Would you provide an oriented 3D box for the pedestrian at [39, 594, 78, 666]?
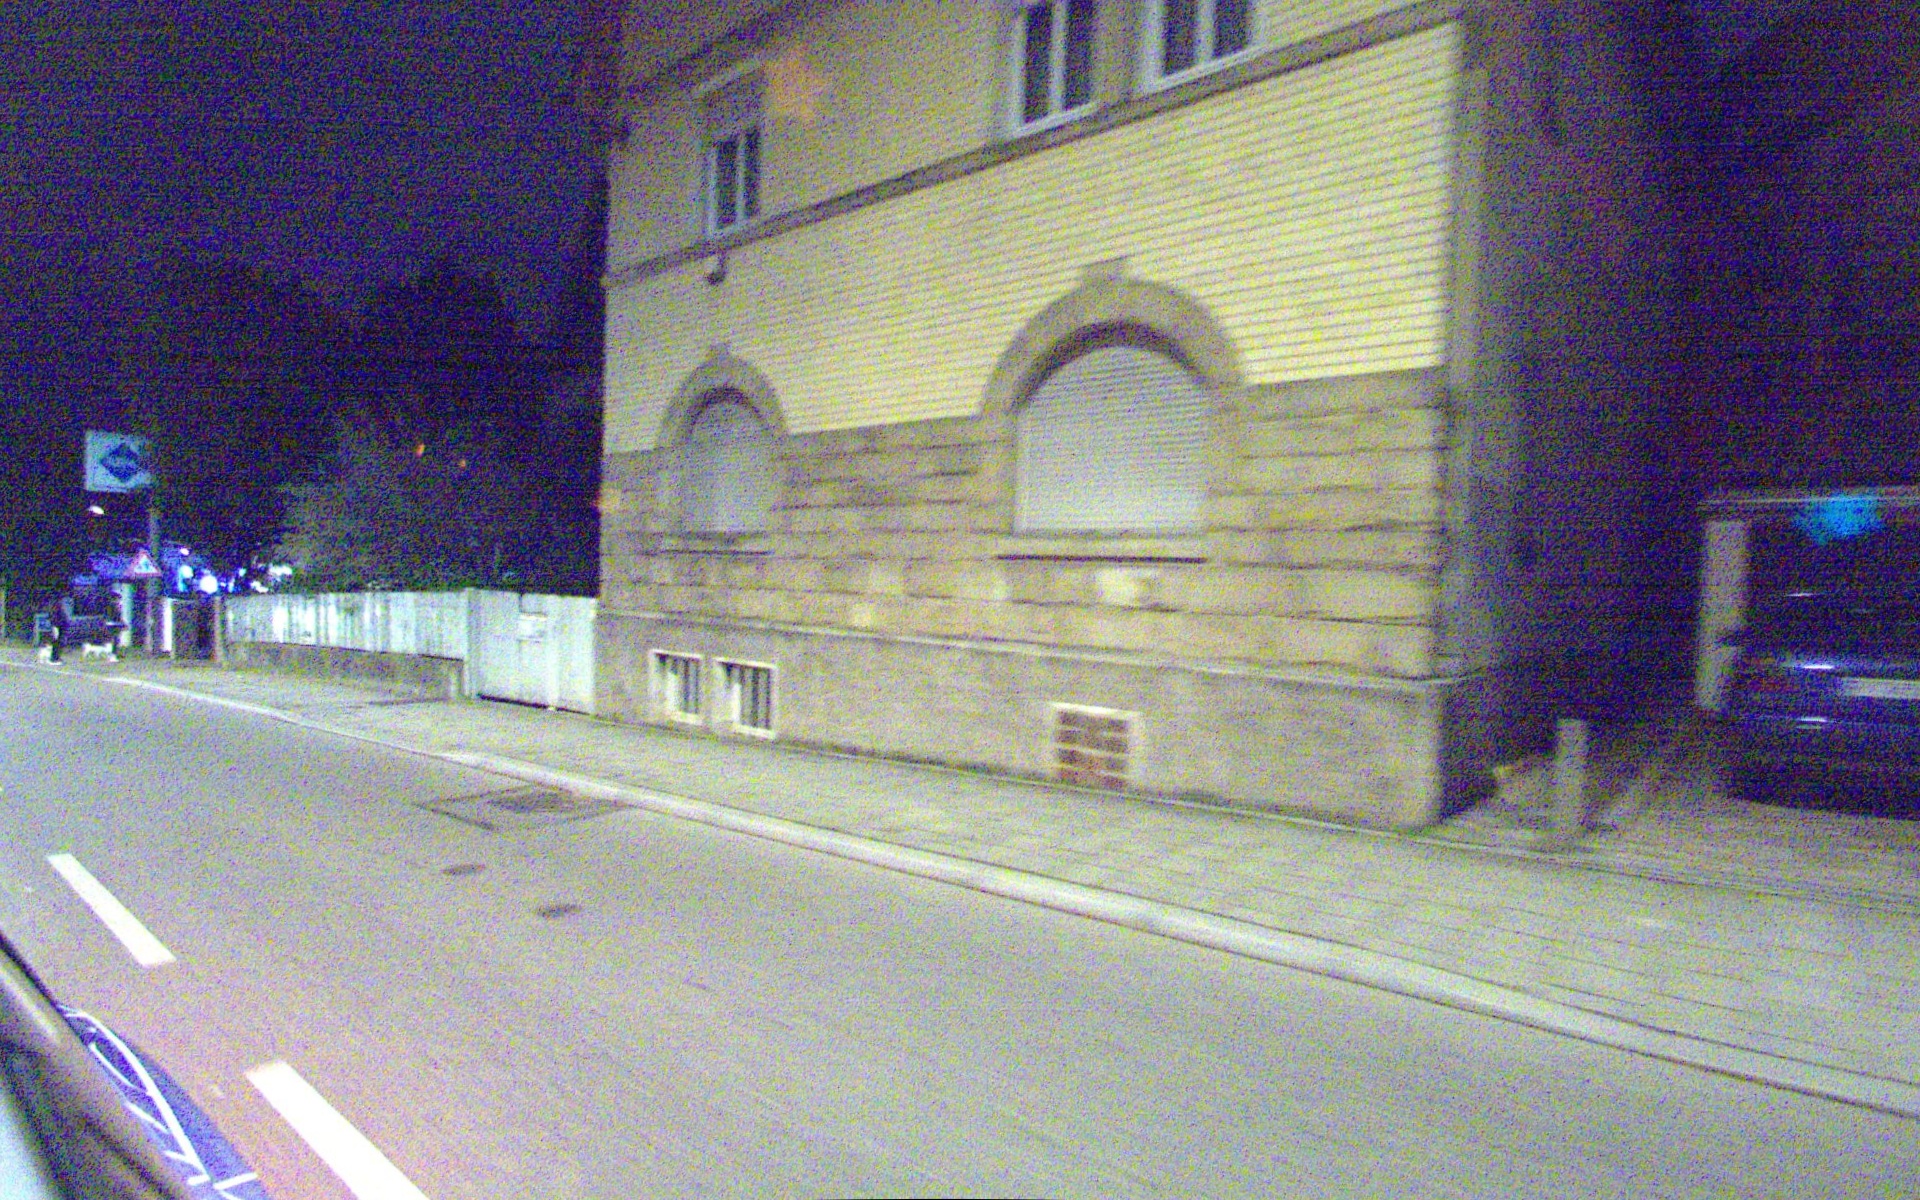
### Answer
[{"bbox_3d":[-22.657,0.748,25.430,0.500,1.773,0.664,0,0,41],"label":"pedestrian"}]

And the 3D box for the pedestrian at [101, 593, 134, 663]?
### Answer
[{"bbox_3d":[-21.481,0.703,25.815,0.500,1.773,0.557,0,0,41],"label":"pedestrian"}]

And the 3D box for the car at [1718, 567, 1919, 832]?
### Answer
[{"bbox_3d":[6.402,0.514,6.947,1.718,1.452,3.612,0,1,40],"label":"car"}]
